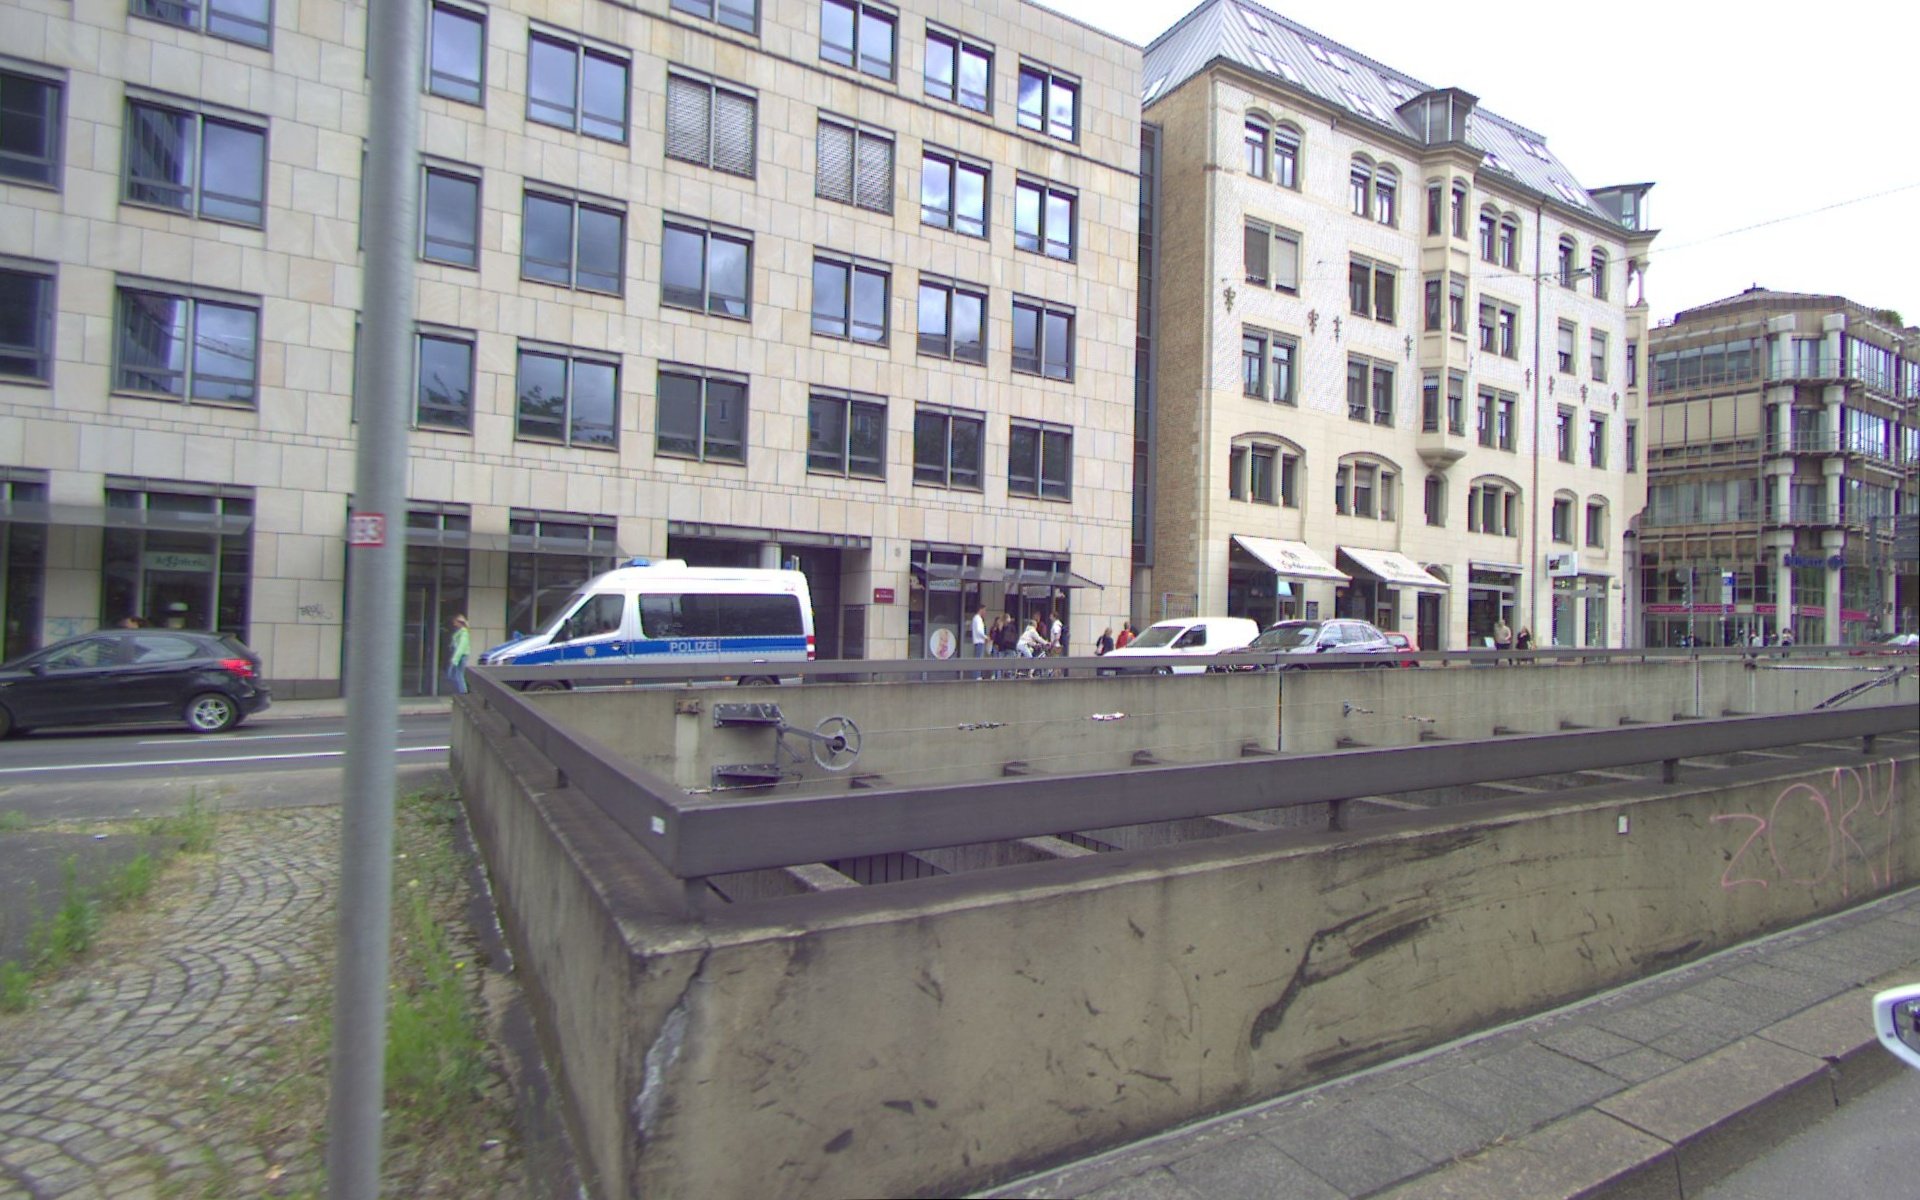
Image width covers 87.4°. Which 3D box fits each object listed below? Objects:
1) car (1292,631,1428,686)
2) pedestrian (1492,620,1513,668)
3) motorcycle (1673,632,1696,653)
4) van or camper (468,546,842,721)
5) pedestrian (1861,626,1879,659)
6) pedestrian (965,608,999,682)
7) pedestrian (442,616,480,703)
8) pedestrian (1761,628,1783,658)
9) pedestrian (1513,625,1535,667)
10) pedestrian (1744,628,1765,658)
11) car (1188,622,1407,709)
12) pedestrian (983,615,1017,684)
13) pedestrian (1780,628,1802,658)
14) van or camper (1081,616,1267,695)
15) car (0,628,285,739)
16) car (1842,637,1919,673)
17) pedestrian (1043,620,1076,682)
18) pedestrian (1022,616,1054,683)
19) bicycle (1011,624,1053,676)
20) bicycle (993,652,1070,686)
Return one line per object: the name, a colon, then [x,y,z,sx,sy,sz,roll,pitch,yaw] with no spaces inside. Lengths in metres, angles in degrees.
car: [11.137,1.591,27.955,3.542,1.424,1.778,1,-2,-31]
pedestrian: [20.601,1.667,38.148,0.576,1.780,0.477,1,-2,-30]
motorcycle: [45.047,2.652,62.417,1.924,1.273,0.784,1,-1,-42]
van or camper: [-5.627,0.595,18.692,6.171,2.762,2.988,1,-1,-30]
pedestrian: [51.342,2.418,56.685,0.686,1.817,0.530,1,1,-29]
pedestrian: [0.566,1.155,26.196,0.672,1.899,0.613,1,-1,-31]
pedestrian: [-9.570,1.127,19.255,0.620,1.645,0.497,1,-1,-30]
pedestrian: [42.735,2.249,52.862,0.839,1.564,0.695,1,-1,-37]
pedestrian: [21.079,1.705,37.551,0.577,1.558,0.477,1,-2,-33]
pedestrian: [42.278,2.269,53.474,0.839,1.564,0.695,1,-1,-37]
car: [6.807,1.222,20.078,4.497,1.547,1.906,1,-1,-36]
pedestrian: [1.025,1.247,25.601,0.672,1.740,0.552,1,0,-30]
pedestrian: [43.217,2.232,52.227,0.839,1.564,0.695,1,-1,-37]
van or camper: [5.302,1.299,24.708,4.435,1.775,1.858,1,-1,-31]
car: [-12.290,1.166,14.575,3.982,1.467,1.761,1,-3,-30]
car: [42.461,2.477,45.896,4.831,1.484,1.983,1,-2,-32]
pedestrian: [2.598,1.314,26.162,0.672,1.597,0.549,1,-1,-31]
pedestrian: [2.102,1.328,27.156,0.672,1.777,0.549,1,-1,-31]
bicycle: [1.797,1.227,25.021,0.836,1.277,0.628,1,-1,-33]
bicycle: [1.780,1.699,25.004,1.938,0.772,0.628,1,-1,-33]
